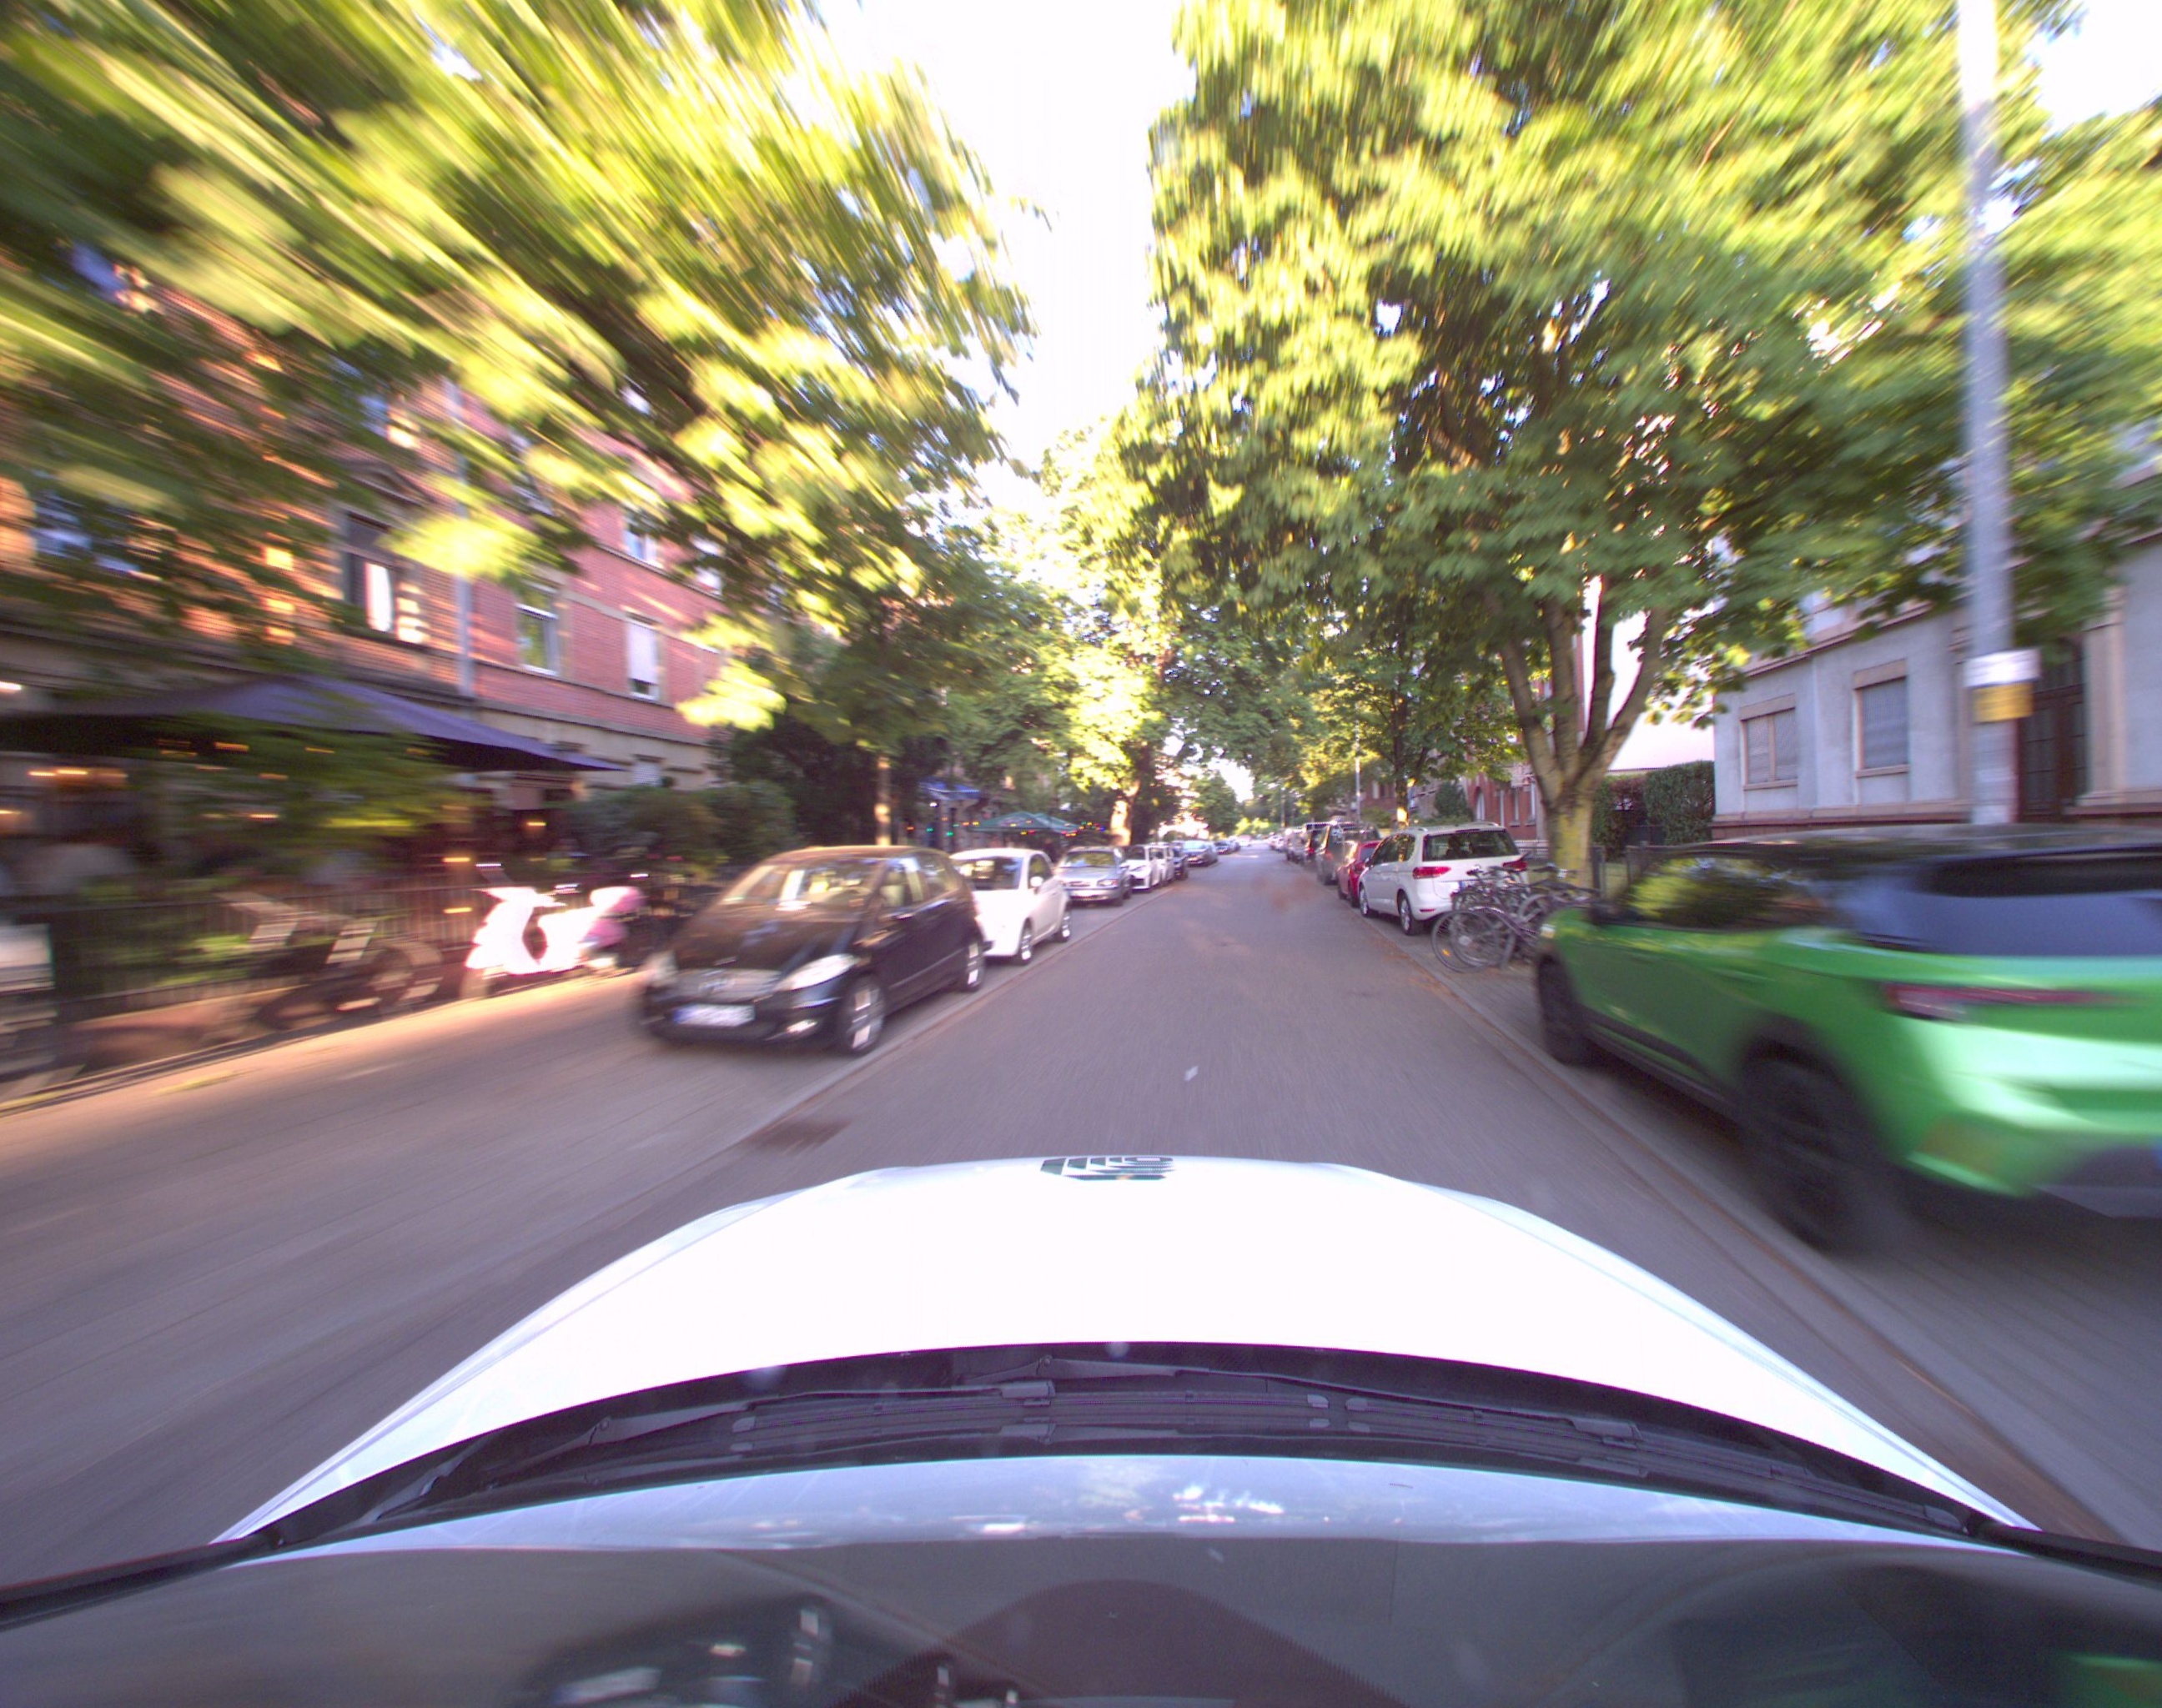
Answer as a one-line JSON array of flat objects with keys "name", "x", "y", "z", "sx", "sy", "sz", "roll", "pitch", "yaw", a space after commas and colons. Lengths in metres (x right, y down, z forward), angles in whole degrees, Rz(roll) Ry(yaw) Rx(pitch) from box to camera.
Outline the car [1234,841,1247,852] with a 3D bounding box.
[{"name": "car", "x": 22.943, "y": -1.077, "z": 117.284, "sx": 1.704, "sy": 1.566, "sz": 3.801, "roll": -1, "pitch": 1, "yaw": 12}]

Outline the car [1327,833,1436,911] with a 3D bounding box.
[{"name": "car", "x": 6.704, "y": 0.330, "z": 18.525, "sx": 1.654, "sy": 1.499, "sz": 3.705, "roll": -4, "pitch": 1, "yaw": 11}]

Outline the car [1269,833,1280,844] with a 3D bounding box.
[{"name": "car", "x": 33.461, "y": -2.691, "z": 140.903, "sx": 1.670, "sy": 1.941, "sz": 3.891, "roll": -1, "pitch": 0, "yaw": 10}]

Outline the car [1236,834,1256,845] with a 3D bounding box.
[{"name": "car", "x": 37.241, "y": -3.279, "z": 183.970, "sx": 4.322, "sy": 2.318, "sz": 1.751, "roll": -1, "pitch": 1, "yaw": 10}]

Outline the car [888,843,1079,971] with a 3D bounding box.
[{"name": "car", "x": -1.223, "y": 0.613, "z": 11.858, "sx": 1.653, "sy": 1.493, "sz": 3.722, "roll": 1, "pitch": 1, "yaw": 11}]

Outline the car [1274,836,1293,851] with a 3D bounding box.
[{"name": "car", "x": 24.440, "y": -1.290, "z": 98.396, "sx": 1.787, "sy": 1.711, "sz": 4.614, "roll": -2, "pitch": 0, "yaw": 10}]

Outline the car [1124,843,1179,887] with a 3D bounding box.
[{"name": "car", "x": 2.725, "y": 0.370, "z": 30.853, "sx": 1.540, "sy": 1.485, "sz": 3.708, "roll": 1, "pitch": 2, "yaw": 13}]

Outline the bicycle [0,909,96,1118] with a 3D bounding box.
[{"name": "bicycle", "x": -6.715, "y": 0.968, "z": 4.278, "sx": 0.388, "sy": 1.185, "sz": 1.965, "roll": 2, "pitch": 1, "yaw": 16}]

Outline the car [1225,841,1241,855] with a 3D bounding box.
[{"name": "car", "x": 19.497, "y": -0.779, "z": 104.231, "sx": 1.908, "sy": 1.717, "sz": 4.443, "roll": -1, "pitch": 1, "yaw": 12}]

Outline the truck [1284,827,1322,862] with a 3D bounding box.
[{"name": "truck", "x": 15.321, "y": -0.641, "z": 56.524, "sx": 1.965, "sy": 2.244, "sz": 6.796, "roll": -2, "pitch": 0, "yaw": 10}]

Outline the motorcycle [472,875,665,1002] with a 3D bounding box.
[{"name": "motorcycle", "x": -5.659, "y": 0.874, "z": 9.155, "sx": 0.388, "sy": 1.185, "sz": 1.967, "roll": 0, "pitch": 1, "yaw": 22}]

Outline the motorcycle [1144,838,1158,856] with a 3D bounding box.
[{"name": "motorcycle", "x": 4.689, "y": -0.485, "z": 54.474, "sx": 0.578, "sy": 1.156, "sz": 2.902, "roll": 1, "pitch": 2, "yaw": 12}]

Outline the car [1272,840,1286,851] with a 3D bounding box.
[{"name": "car", "x": 27.506, "y": -1.213, "z": 113.157, "sx": 1.675, "sy": 1.441, "sz": 4.224, "roll": -3, "pitch": 0, "yaw": 12}]

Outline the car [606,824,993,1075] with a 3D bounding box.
[{"name": "car", "x": -2.190, "y": 0.596, "z": 7.534, "sx": 1.653, "sy": 1.677, "sz": 3.859, "roll": 1, "pitch": 1, "yaw": 11}]

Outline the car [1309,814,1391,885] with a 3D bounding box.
[{"name": "car", "x": 8.969, "y": -0.205, "z": 27.536, "sx": 1.941, "sy": 2.058, "sz": 4.846, "roll": -4, "pitch": 1, "yaw": 11}]

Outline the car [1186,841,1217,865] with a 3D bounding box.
[{"name": "car", "x": 8.060, "y": -0.101, "z": 54.222, "sx": 1.678, "sy": 1.502, "sz": 4.417, "roll": -1, "pitch": 0, "yaw": 12}]

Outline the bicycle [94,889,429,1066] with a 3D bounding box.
[{"name": "bicycle", "x": -6.699, "y": 0.930, "z": 6.830, "sx": 0.388, "sy": 1.143, "sz": 1.967, "roll": 1, "pitch": 1, "yaw": 22}]

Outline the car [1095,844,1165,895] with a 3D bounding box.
[{"name": "car", "x": 1.649, "y": 0.438, "z": 26.085, "sx": 1.592, "sy": 1.435, "sz": 3.899, "roll": 1, "pitch": 2, "yaw": 13}]

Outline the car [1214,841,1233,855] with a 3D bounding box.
[{"name": "car", "x": 15.533, "y": -0.699, "z": 88.526, "sx": 1.604, "sy": 1.470, "sz": 3.977, "roll": -1, "pitch": 1, "yaw": 15}]

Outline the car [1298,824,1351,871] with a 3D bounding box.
[{"name": "car", "x": 11.327, "y": -0.334, "z": 38.076, "sx": 1.827, "sy": 1.942, "sz": 4.629, "roll": -4, "pitch": 1, "yaw": 11}]

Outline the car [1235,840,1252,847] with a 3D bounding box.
[{"name": "car", "x": 36.159, "y": -2.276, "z": 181.413, "sx": 3.597, "sy": 1.461, "sz": 1.611, "roll": -1, "pitch": 1, "yaw": 8}]

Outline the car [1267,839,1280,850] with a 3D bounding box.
[{"name": "car", "x": 28.674, "y": -1.352, "z": 121.298, "sx": 1.676, "sy": 1.606, "sz": 3.951, "roll": -1, "pitch": 0, "yaw": 10}]

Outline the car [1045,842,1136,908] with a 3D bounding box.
[{"name": "car", "x": 0.369, "y": 0.452, "z": 21.032, "sx": 1.830, "sy": 1.411, "sz": 4.610, "roll": -2, "pitch": 1, "yaw": 7}]

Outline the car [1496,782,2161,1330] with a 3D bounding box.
[{"name": "car", "x": 3.749, "y": 0.523, "z": 4.241, "sx": 1.720, "sy": 1.556, "sz": 3.975, "roll": -4, "pitch": 1, "yaw": 11}]

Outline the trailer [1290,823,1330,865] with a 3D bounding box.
[{"name": "trailer", "x": 13.884, "y": -0.601, "z": 49.557, "sx": 1.941, "sy": 2.295, "sz": 4.661, "roll": -4, "pitch": 0, "yaw": 12}]

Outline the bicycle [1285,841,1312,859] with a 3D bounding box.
[{"name": "bicycle", "x": 16.522, "y": -0.312, "z": 61.983, "sx": 1.892, "sy": 1.258, "sz": 0.408, "roll": -4, "pitch": 0, "yaw": 6}]

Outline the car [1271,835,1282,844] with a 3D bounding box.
[{"name": "car", "x": 32.817, "y": -2.389, "z": 136.976, "sx": 1.529, "sy": 1.521, "sz": 3.441, "roll": -1, "pitch": 0, "yaw": 10}]

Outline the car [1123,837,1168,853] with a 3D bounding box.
[{"name": "car", "x": 6.327, "y": -0.880, "z": 80.364, "sx": 4.057, "sy": 1.447, "sz": 1.718, "roll": -1, "pitch": 2, "yaw": 21}]

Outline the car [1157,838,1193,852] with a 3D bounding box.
[{"name": "car", "x": 11.215, "y": -1.064, "z": 97.201, "sx": 4.066, "sy": 1.527, "sz": 1.714, "roll": 2, "pitch": 1, "yaw": 11}]

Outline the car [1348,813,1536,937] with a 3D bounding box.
[{"name": "car", "x": 5.875, "y": 0.261, "z": 13.803, "sx": 1.656, "sy": 1.678, "sz": 4.127, "roll": -4, "pitch": 1, "yaw": 6}]

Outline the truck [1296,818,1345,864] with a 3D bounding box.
[{"name": "truck", "x": 12.925, "y": -0.743, "z": 44.197, "sx": 1.941, "sy": 2.246, "sz": 4.659, "roll": -4, "pitch": 1, "yaw": 11}]

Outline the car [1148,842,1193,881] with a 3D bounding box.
[{"name": "car", "x": 3.854, "y": 0.273, "z": 34.708, "sx": 1.541, "sy": 1.485, "sz": 3.705, "roll": -2, "pitch": 1, "yaw": 11}]

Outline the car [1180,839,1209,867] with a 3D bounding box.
[{"name": "car", "x": 6.919, "y": -0.089, "z": 49.433, "sx": 1.680, "sy": 1.563, "sz": 4.413, "roll": 1, "pitch": 1, "yaw": 8}]
